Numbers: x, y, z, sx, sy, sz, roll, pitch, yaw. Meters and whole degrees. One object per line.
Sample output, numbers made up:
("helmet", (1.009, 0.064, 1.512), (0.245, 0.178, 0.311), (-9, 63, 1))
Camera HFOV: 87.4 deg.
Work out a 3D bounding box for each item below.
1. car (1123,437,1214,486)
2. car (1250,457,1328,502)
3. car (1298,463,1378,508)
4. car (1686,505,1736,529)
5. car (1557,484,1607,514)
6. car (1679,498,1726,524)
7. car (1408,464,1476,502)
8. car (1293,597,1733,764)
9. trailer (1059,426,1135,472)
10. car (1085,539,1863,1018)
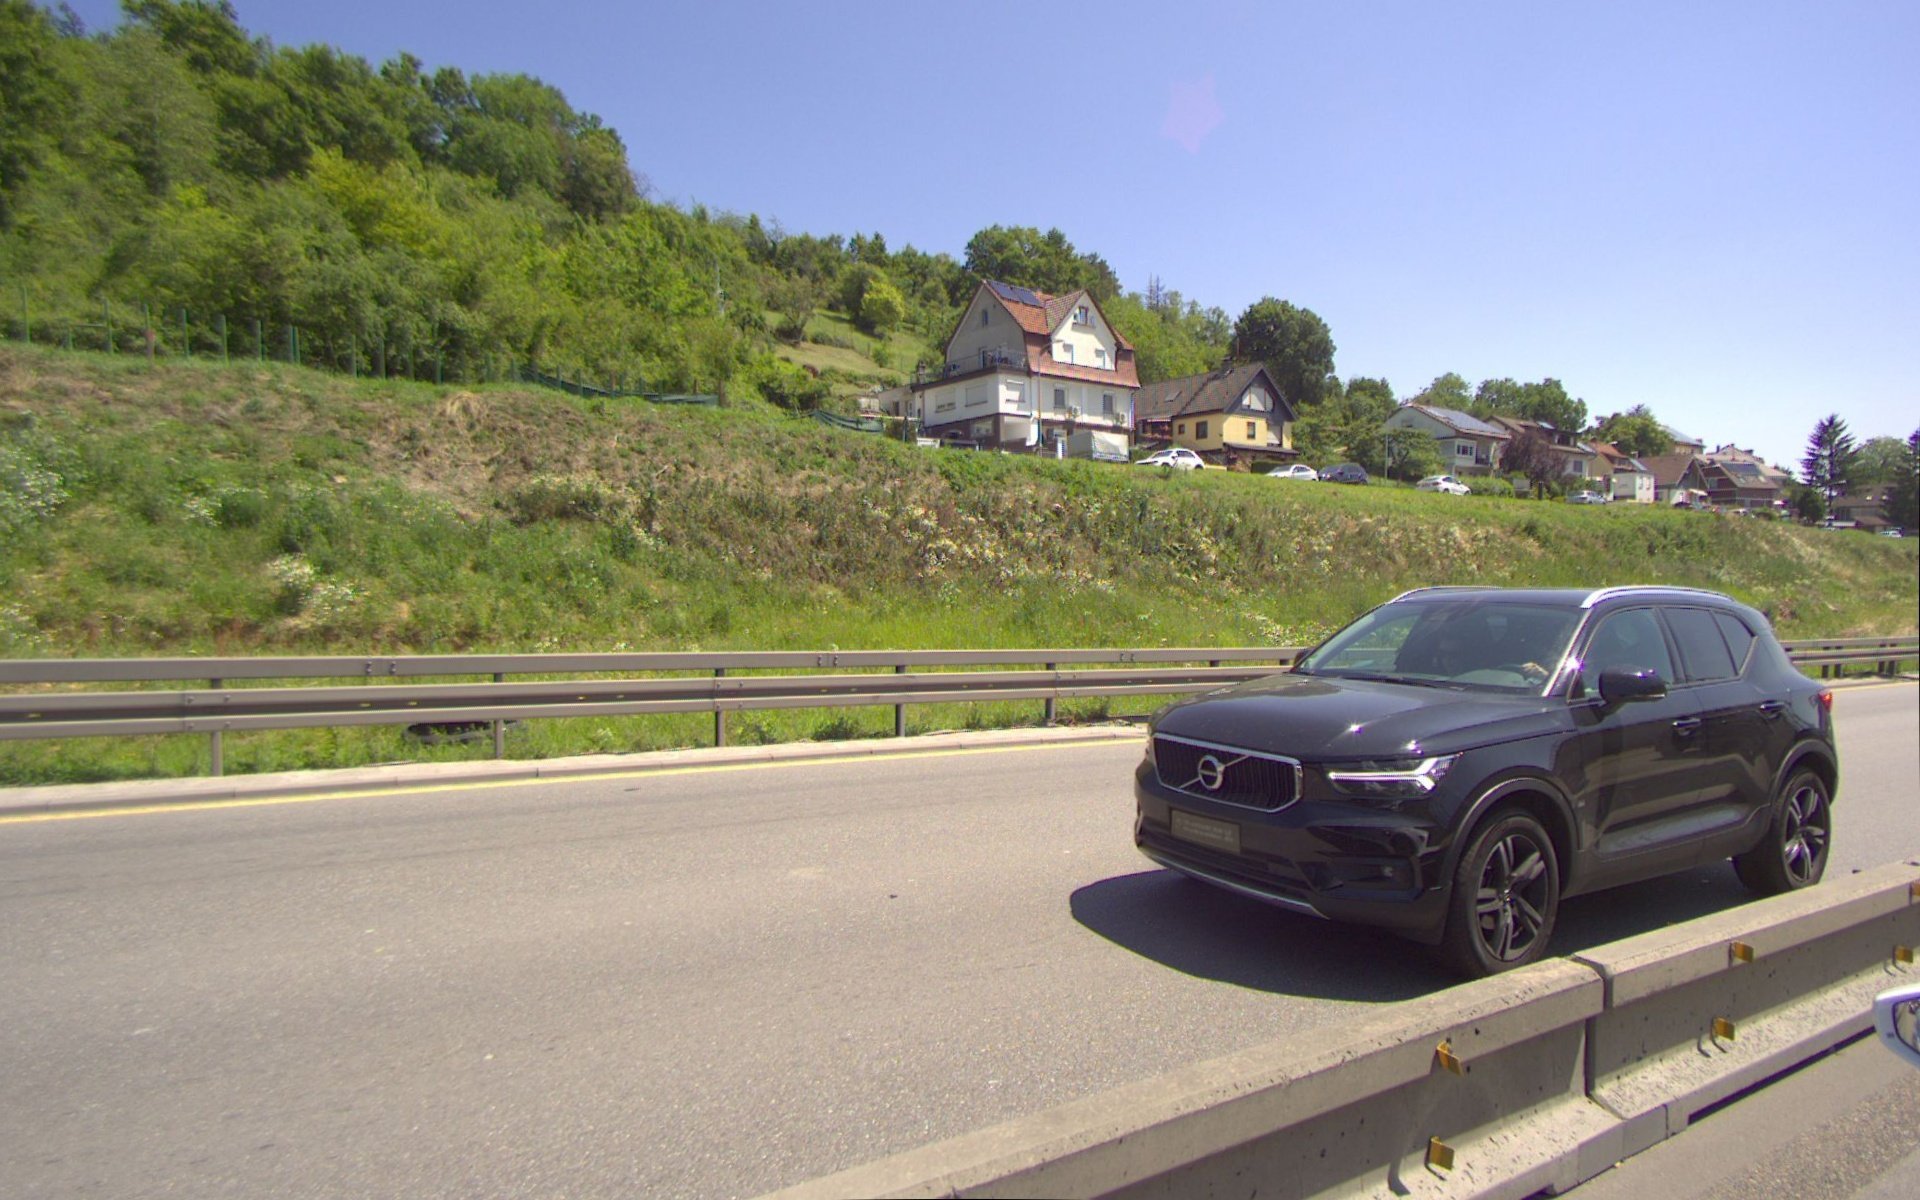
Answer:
("car", (10.258, -6.739, 49.228), (4.516, 1.678, 1.977), (2, 0, -40))
("car", (18.336, -6.678, 55.915), (4.389, 1.896, 1.979), (2, 0, -36))
("car", (22.285, -6.687, 59.142), (4.925, 2.035, 2.056), (2, 0, -36))
("car", (71.335, -7.850, 95.373), (4.752, 1.818, 2.333), (2, 0, -34))
("car", (47.503, -7.654, 76.700), (3.963, 1.818, 1.979), (2, 0, -37))
("car", (67.014, -7.994, 90.664), (4.720, 1.818, 2.162), (2, 0, -37))
("car", (31.711, -7.665, 66.085), (4.966, 1.818, 1.979), (2, 0, -37))
("car", (6.402, 0.805, 11.446), (5.238, 1.528, 1.984), (2, 0, -30))
("trailer", (6.265, -6.862, 45.890), (3.014, 1.536, 1.885), (2, 0, -41))
("car", (2.821, 0.656, 5.380), (3.953, 1.706, 1.861), (1, 0, -30))
